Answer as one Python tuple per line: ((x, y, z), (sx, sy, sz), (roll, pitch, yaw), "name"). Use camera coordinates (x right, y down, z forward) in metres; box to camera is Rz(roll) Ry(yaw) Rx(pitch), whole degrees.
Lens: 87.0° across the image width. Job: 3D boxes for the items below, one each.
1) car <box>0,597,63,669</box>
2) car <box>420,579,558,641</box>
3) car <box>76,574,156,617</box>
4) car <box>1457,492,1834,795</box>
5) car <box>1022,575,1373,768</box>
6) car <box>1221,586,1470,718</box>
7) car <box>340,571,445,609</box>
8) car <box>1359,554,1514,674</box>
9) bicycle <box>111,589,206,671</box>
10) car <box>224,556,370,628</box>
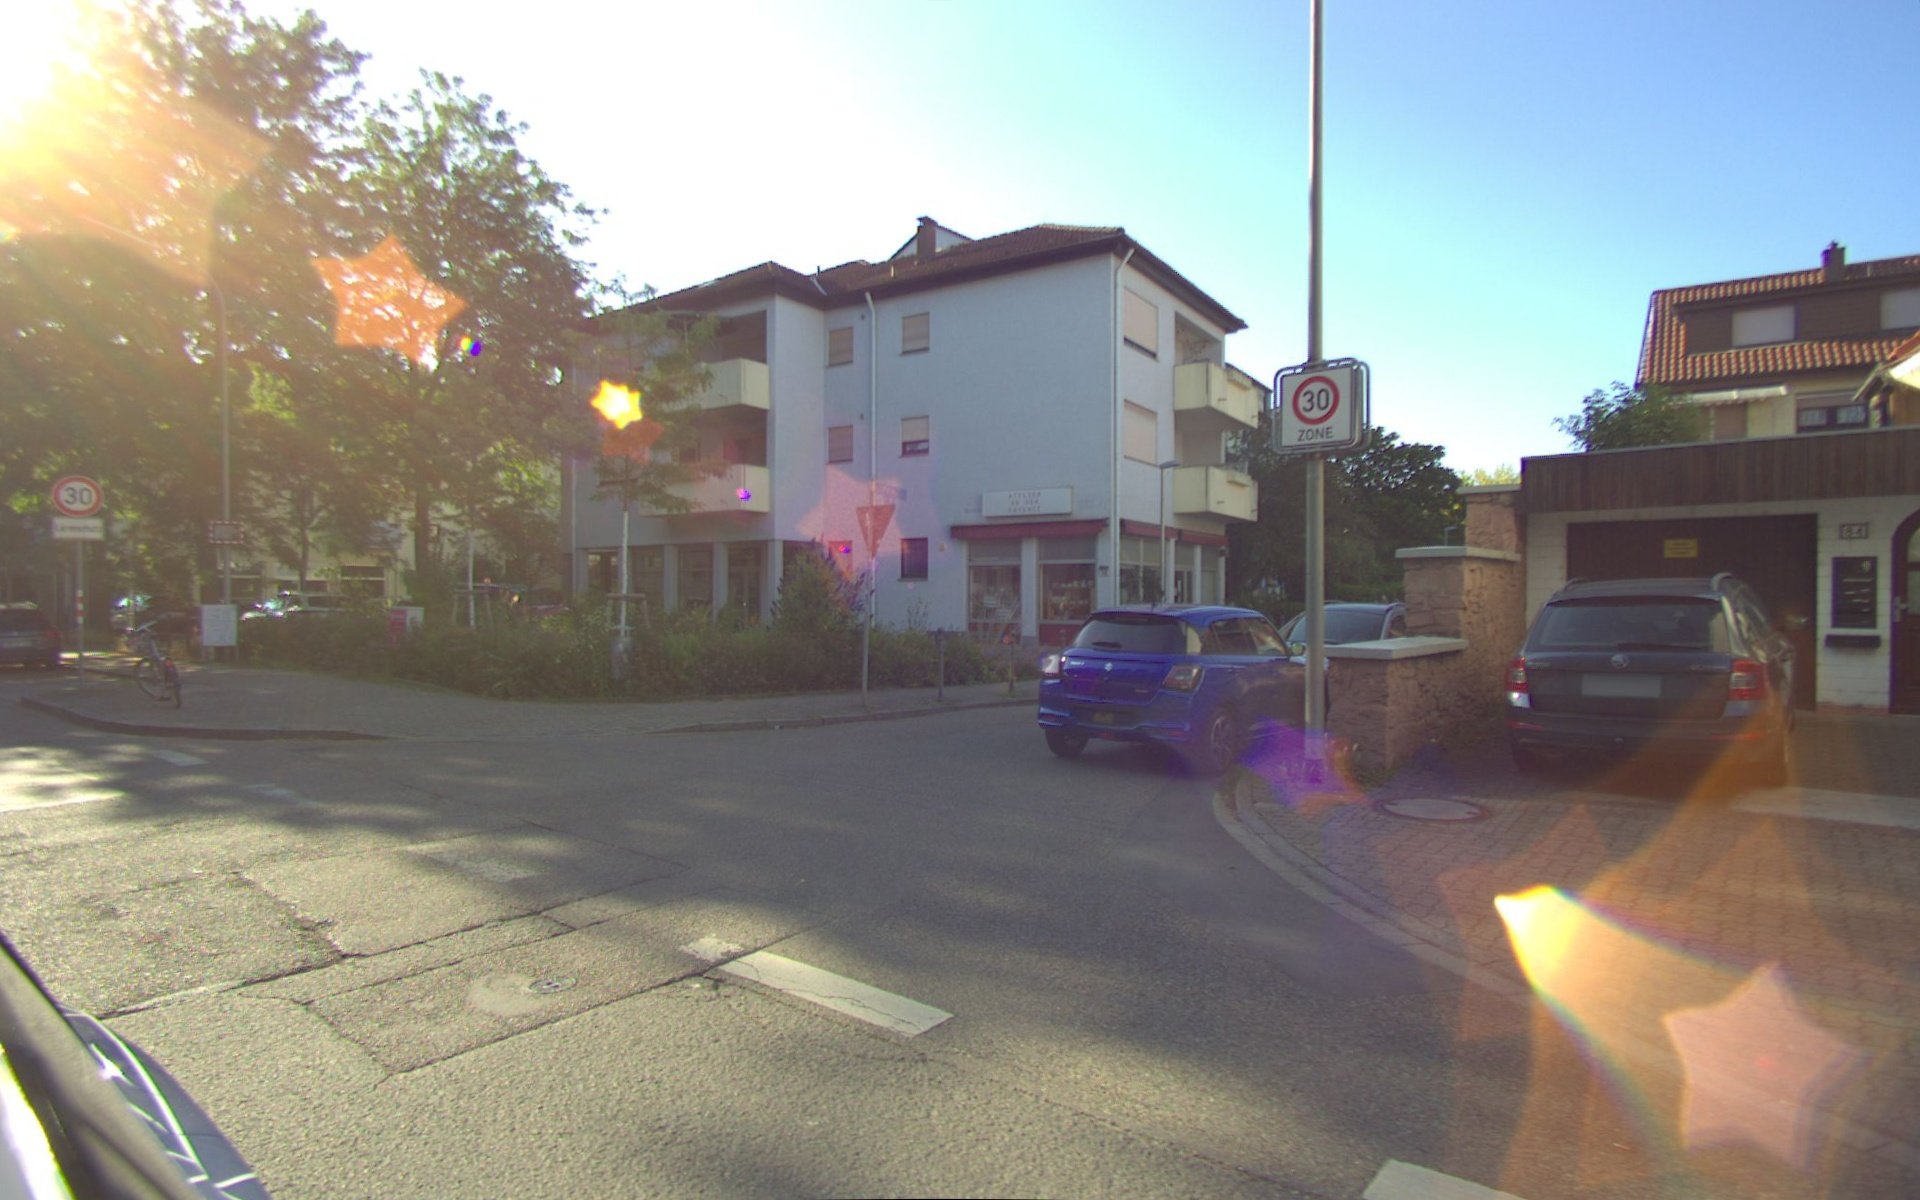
((-21.811, 0.701, 22.806), (3.994, 1.503, 1.681), (1, 1, 38), "car")
((-15.864, 0.300, 34.090), (4.302, 1.963, 2.006), (0, 1, 27), "car")
((-29.512, -0.161, 35.358), (3.636, 1.419, 1.506), (1, 1, 40), "car")
((5.782, 0.150, 8.302), (1.987, 1.808, 4.320), (-3, 2, 40), "car")
((2.517, 0.588, 10.159), (1.998, 1.541, 3.729), (-1, -1, 40), "car")
((5.340, 0.580, 13.737), (1.998, 1.512, 3.947), (0, 0, 40), "car")
((-24.203, -0.439, 43.082), (4.821, 1.486, 1.977), (1, 3, 35), "car")
((9.048, 0.195, 19.082), (1.923, 2.029, 3.627), (0, 1, 37), "car")
((-10.800, 0.365, 13.610), (1.941, 1.010, 0.696), (1, 2, 43), "bicycle")
((-19.125, -0.228, 29.131), (4.895, 1.909, 1.827), (0, 1, 35), "car")
